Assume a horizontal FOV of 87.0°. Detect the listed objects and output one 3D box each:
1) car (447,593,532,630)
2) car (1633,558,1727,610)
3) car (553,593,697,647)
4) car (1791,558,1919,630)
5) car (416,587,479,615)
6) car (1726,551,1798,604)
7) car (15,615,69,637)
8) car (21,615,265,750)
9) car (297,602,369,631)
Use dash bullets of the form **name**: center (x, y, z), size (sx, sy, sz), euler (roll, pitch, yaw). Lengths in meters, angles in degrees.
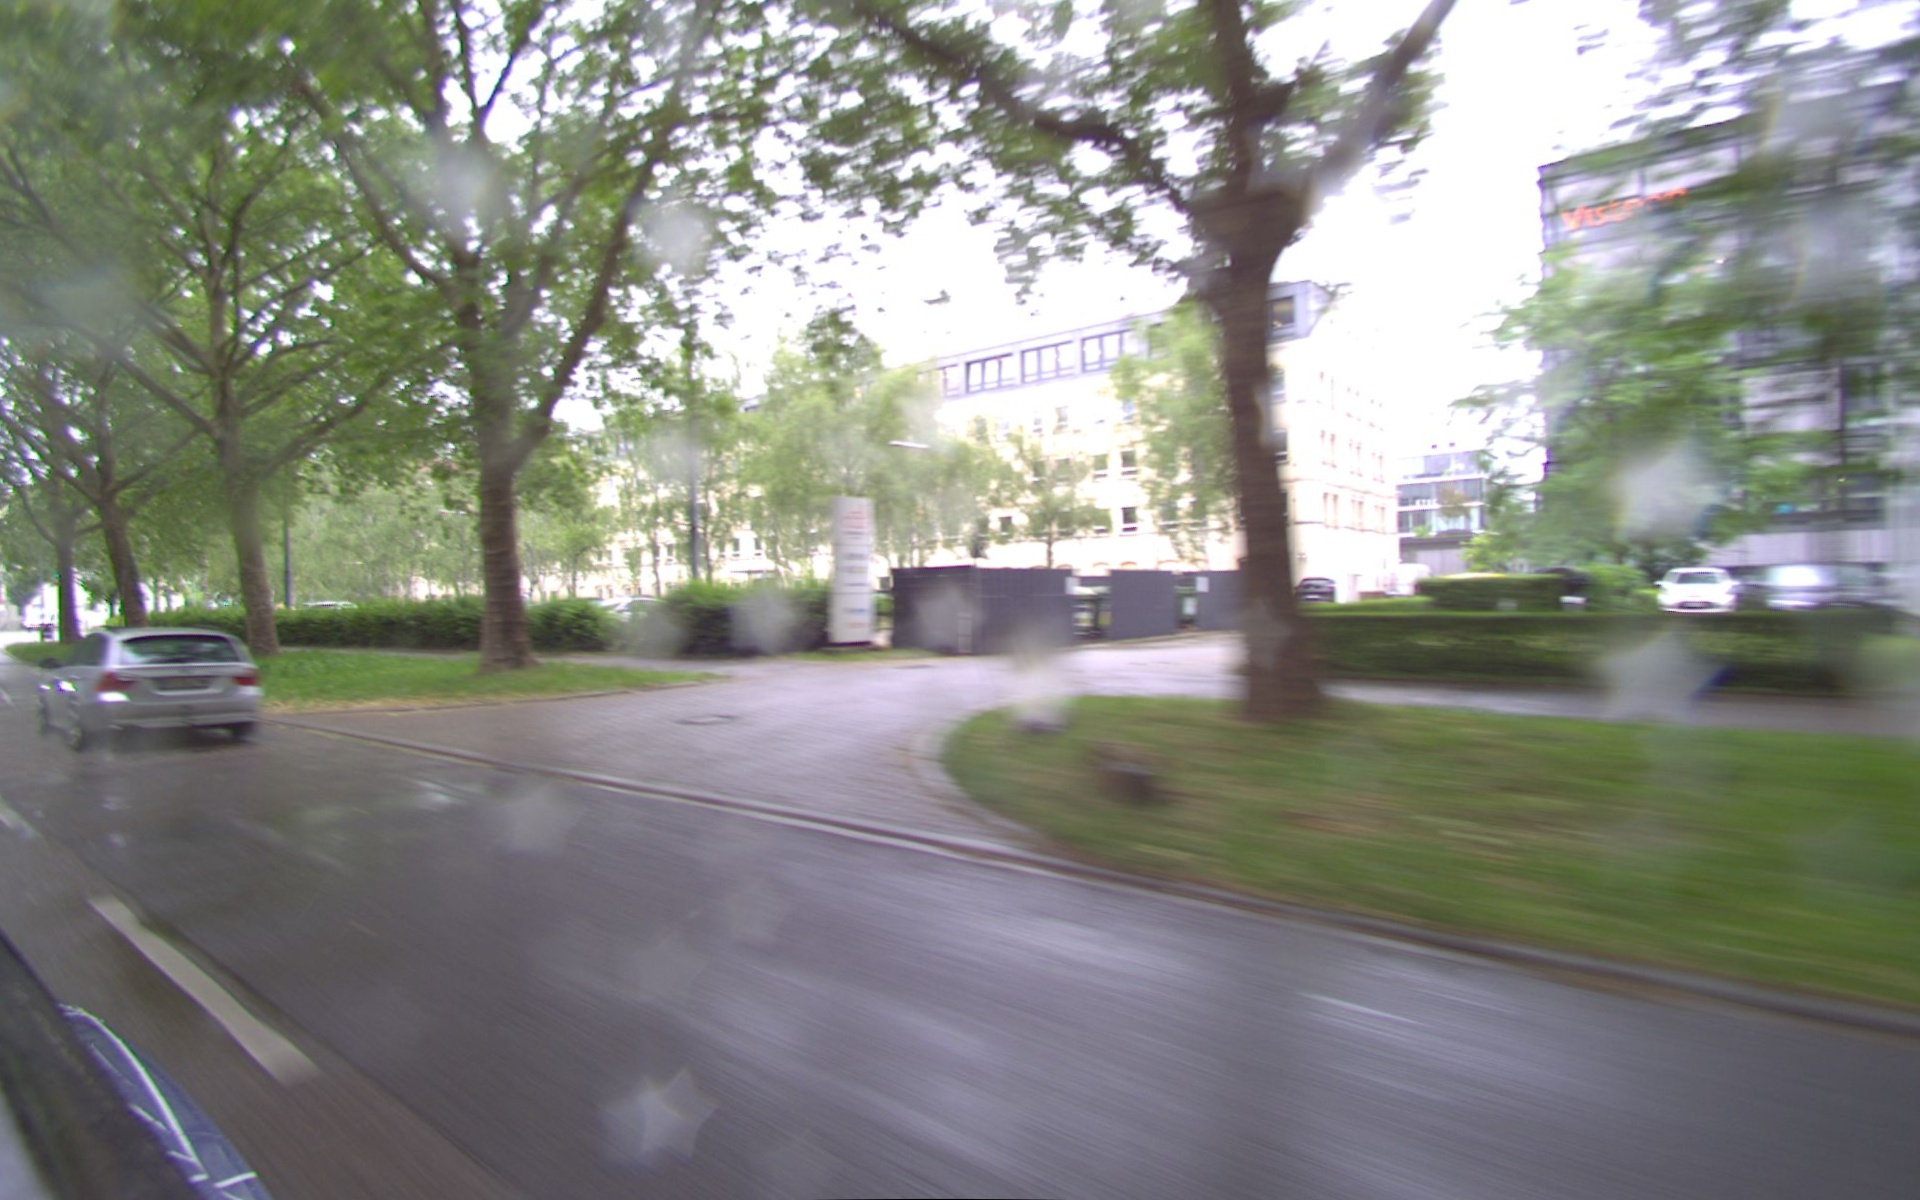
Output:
- **car**: center (-27.116, 0.667, 58.392), size (1.999, 2.029, 3.945), euler (-2, -1, 41)
- **car**: center (21.683, -0.508, 30.416), size (1.998, 1.431, 4.030), euler (-2, 1, 39)
- **car**: center (-10.601, 0.664, 32.241), size (1.997, 1.606, 3.949), euler (-2, -3, 38)
- **car**: center (16.399, -0.141, 18.544), size (1.788, 1.165, 3.947), euler (-2, 1, 40)
- **car**: center (-62.136, 0.098, 122.811), size (2.835, 3.217, 6.137), euler (-2, 1, 38)
- **car**: center (28.755, -0.820, 36.269), size (1.909, 1.740, 4.030), euler (-2, 1, 39)
- **car**: center (-104.276, 2.886, 115.059), size (2.160, 2.272, 4.894), euler (-2, 1, -9)
- **car**: center (-10.483, 0.932, 12.857), size (4.547, 1.399, 1.661), euler (-2, -1, 41)
- **car**: center (-44.744, 1.159, 72.292), size (1.851, 1.846, 3.951), euler (-2, 1, 37)
